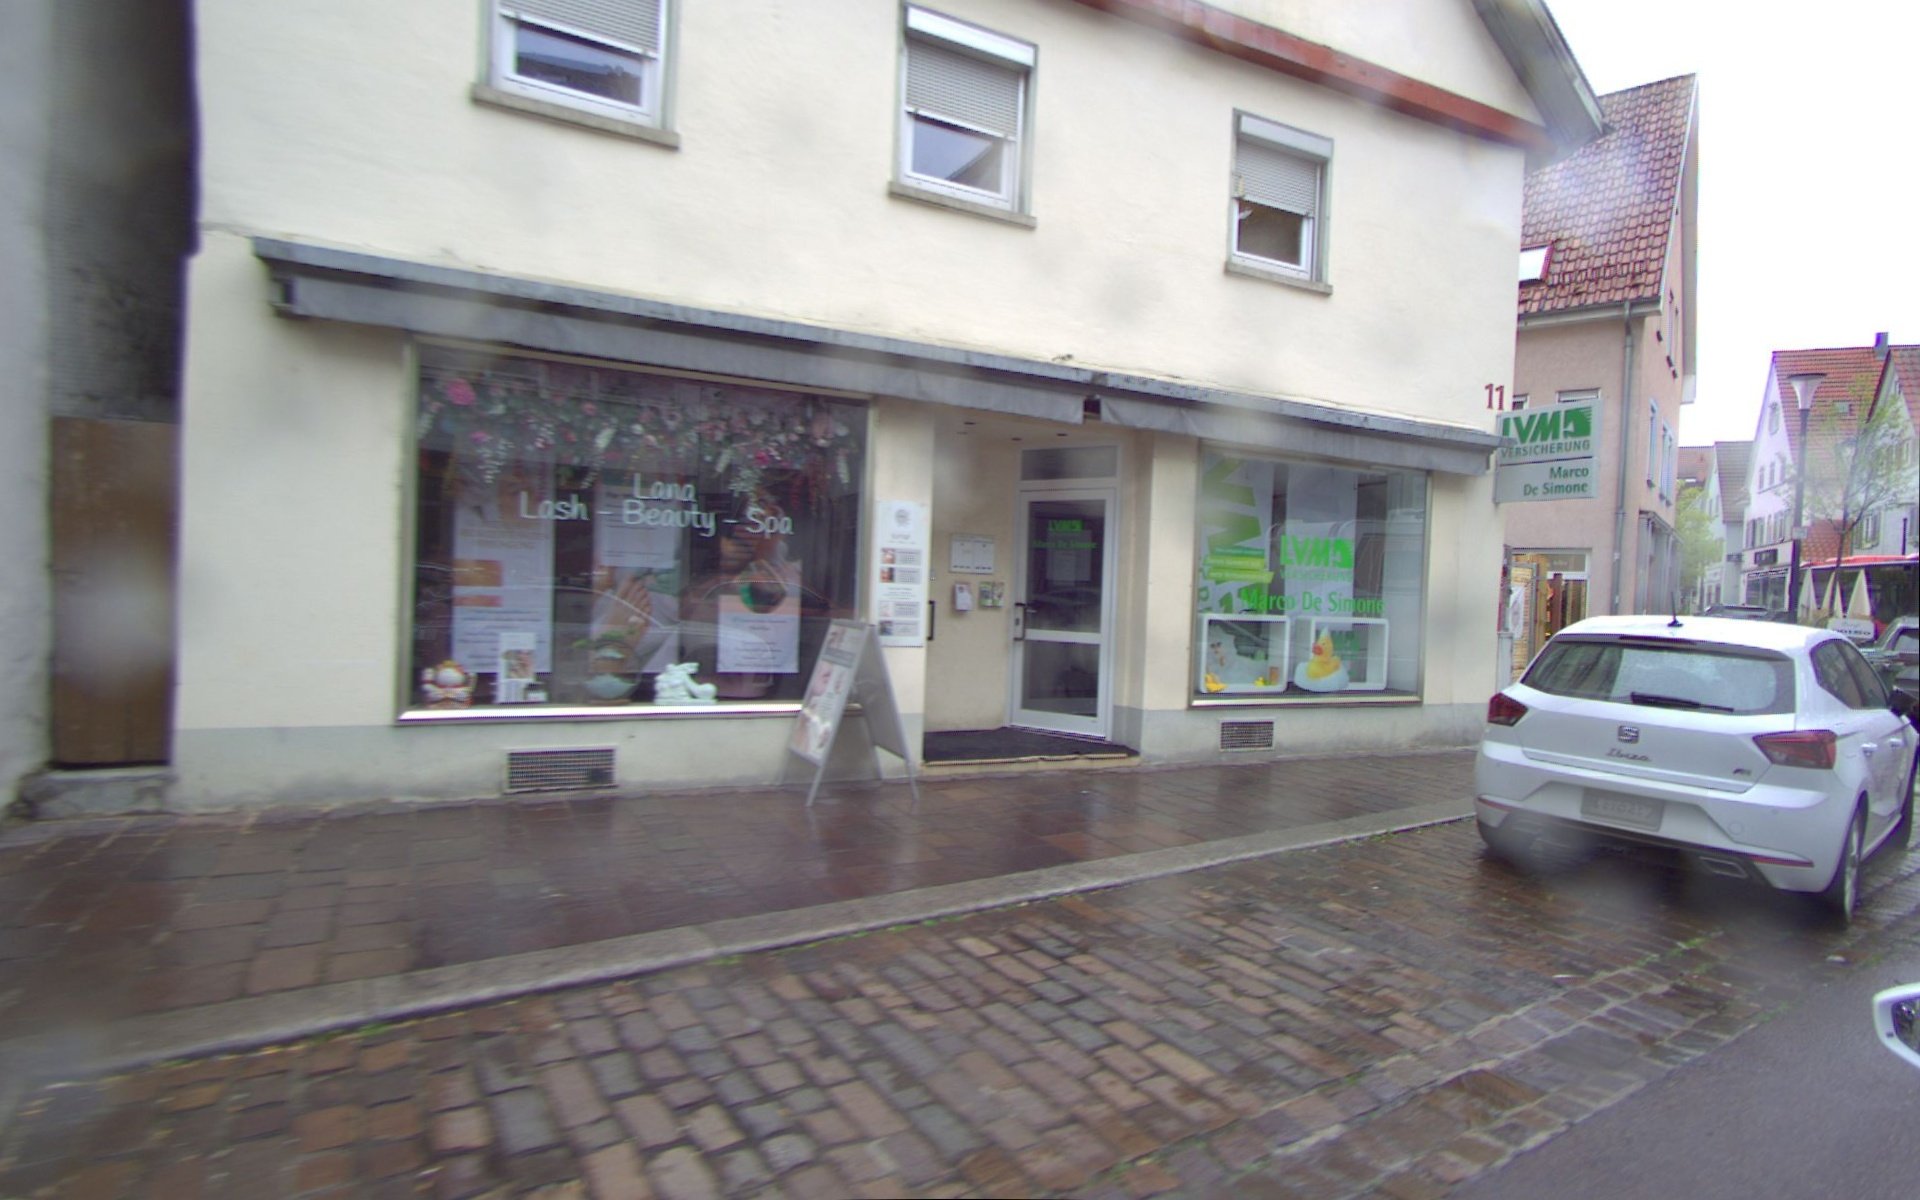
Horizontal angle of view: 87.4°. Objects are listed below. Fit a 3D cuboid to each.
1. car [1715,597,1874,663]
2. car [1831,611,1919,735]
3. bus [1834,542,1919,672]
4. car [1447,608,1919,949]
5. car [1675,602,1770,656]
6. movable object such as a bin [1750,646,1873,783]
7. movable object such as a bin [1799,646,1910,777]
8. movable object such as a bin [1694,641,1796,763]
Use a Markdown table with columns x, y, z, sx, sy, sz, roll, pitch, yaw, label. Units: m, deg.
| x | y | z | sx | sy | sz | roll | pitch | yaw | label |
| --- | --- | --- | --- | --- | --- | --- | --- | --- | --- |
| 22.600 | 0.734 | 27.441 | 1.771 | 1.452 | 4.626 | 4 | 2 | 20 | car |
| 13.137 | 0.942 | 13.518 | 1.972 | 1.474 | 4.349 | 2 | 0 | 43 | car |
| 26.607 | 0.262 | 27.467 | 2.601 | 3.270 | 6.593 | 2 | 0 | 28 | bus |
| 4.694 | 0.799 | 6.261 | 3.788 | 1.442 | 1.674 | 1 | 1 | -42 | car |
| 24.173 | 0.906 | 31.964 | 1.568 | 1.566 | 3.973 | 2 | 0 | 25 | car |
| 7.545 | 0.986 | 8.909 | 0.542 | 1.101 | 0.686 | 2 | 2 | -38 | movable object such as a bin |
| 8.300 | 1.004 | 9.324 | 0.618 | 1.124 | 0.654 | 2 | 0 | -38 | movable object such as a bin |
| 7.749 | 0.980 | 9.920 | 0.618 | 1.124 | 0.654 | 2 | 0 | -38 | movable object such as a bin |
